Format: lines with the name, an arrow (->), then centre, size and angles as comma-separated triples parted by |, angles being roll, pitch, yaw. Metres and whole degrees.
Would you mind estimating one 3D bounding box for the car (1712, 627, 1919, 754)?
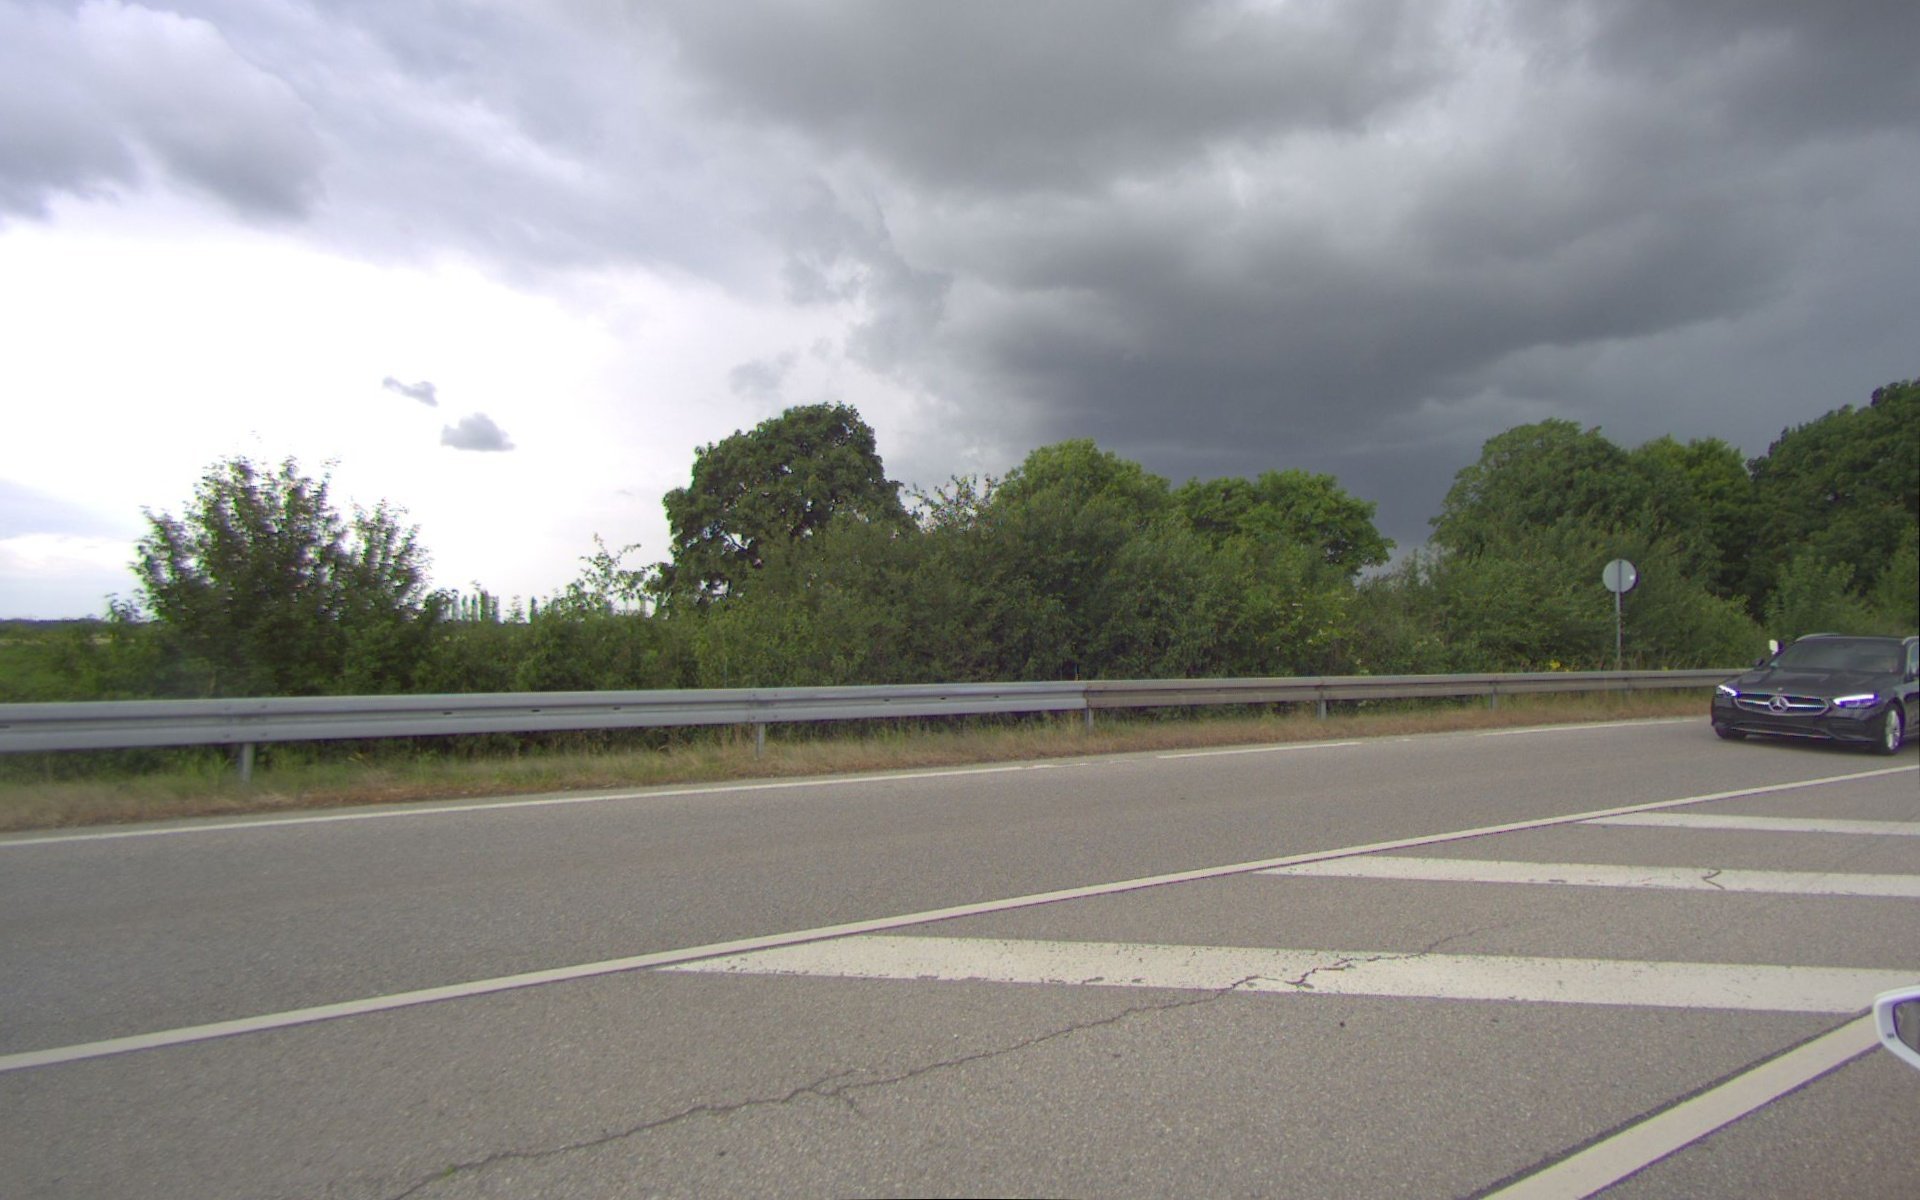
car -> 12.119, 1.128, 13.594 | 4.209, 1.448, 1.662 | 1, -1, -31
